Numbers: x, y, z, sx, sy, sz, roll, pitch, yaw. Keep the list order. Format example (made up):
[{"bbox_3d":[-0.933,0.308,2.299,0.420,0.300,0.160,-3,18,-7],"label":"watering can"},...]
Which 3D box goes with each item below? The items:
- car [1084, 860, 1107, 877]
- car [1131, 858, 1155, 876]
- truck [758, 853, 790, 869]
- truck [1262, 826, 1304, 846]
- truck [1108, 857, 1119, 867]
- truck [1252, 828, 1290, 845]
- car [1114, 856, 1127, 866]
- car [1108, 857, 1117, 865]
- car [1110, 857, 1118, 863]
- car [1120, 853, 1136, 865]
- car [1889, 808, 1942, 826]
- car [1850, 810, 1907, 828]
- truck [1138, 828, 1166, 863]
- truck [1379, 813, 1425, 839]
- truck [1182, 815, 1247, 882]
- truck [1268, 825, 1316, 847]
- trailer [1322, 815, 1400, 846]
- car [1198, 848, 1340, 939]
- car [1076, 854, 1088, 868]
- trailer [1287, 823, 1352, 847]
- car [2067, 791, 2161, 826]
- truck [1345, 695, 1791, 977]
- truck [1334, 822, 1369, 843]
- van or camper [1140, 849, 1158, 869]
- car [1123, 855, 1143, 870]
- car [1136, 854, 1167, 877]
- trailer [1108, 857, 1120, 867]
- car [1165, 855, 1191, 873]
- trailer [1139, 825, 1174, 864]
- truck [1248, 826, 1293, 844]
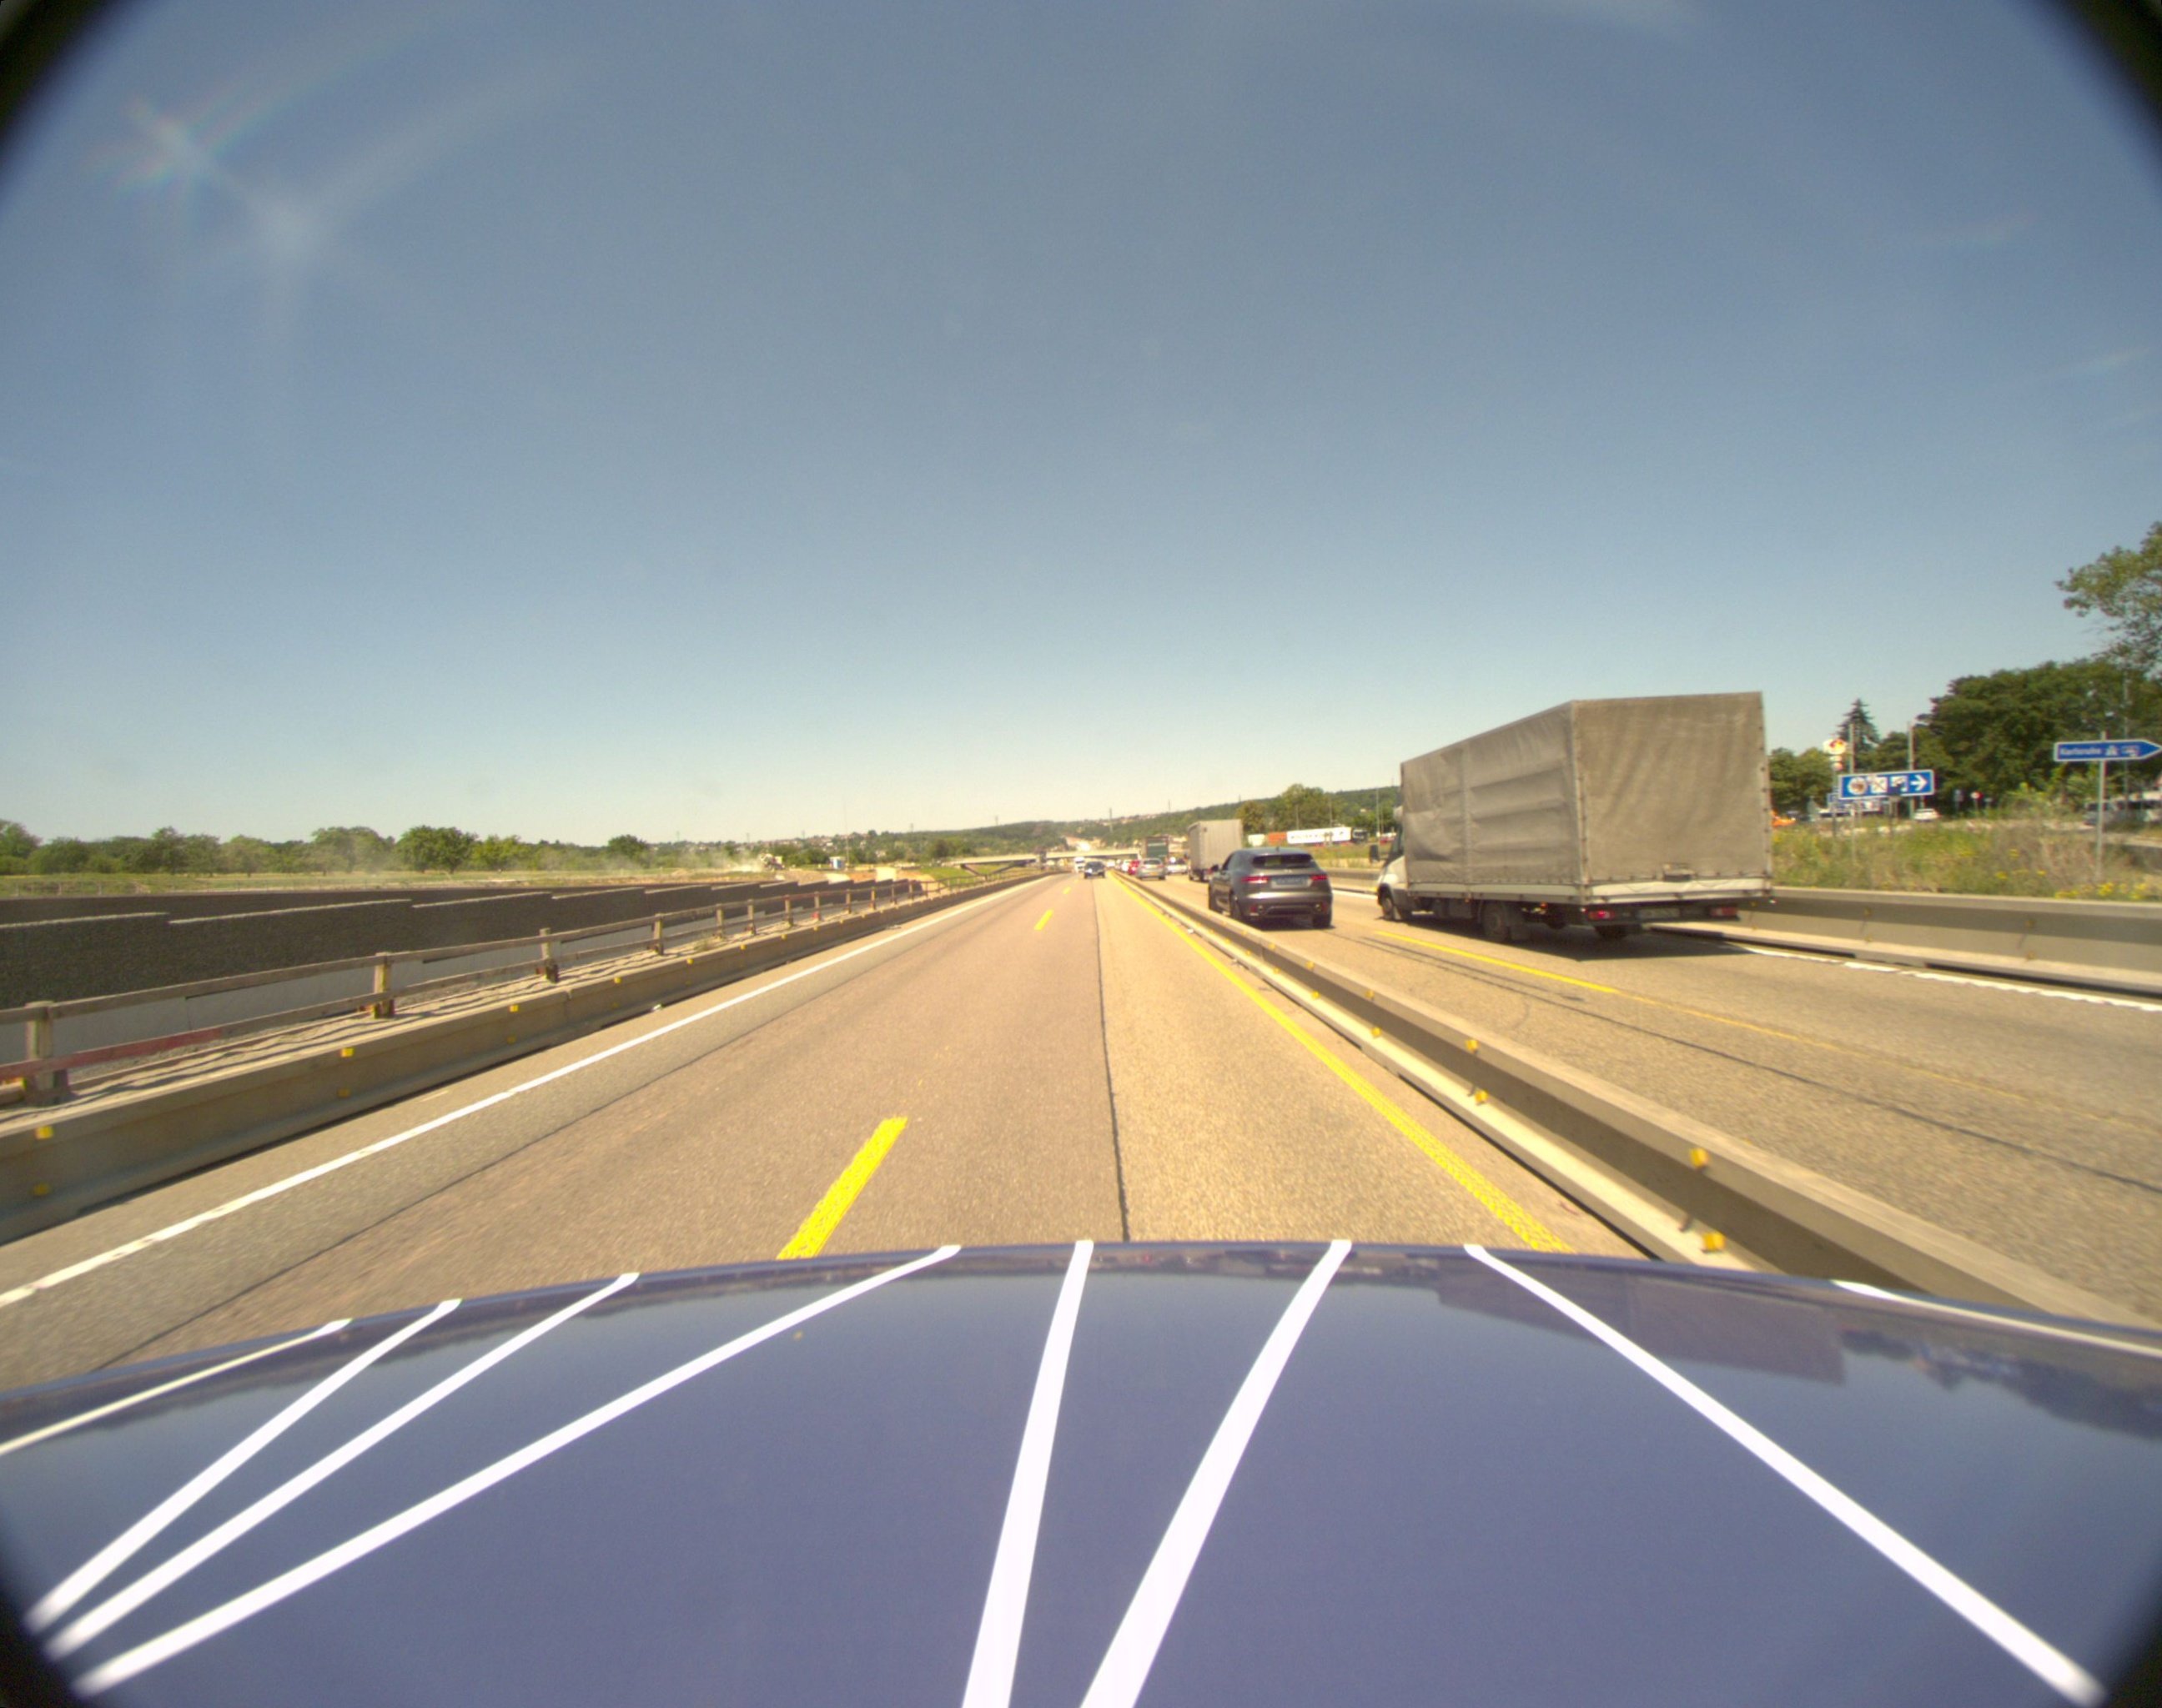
[{"bbox_3d":[1.194,1.167,61.811,1.810,1.299,4.000,-2,0,2],"label":"car"},{"bbox_3d":[5.123,1.067,63.533,1.653,1.426,4.000,-2,0,0],"label":"car"},{"bbox_3d":[-69.449,1.580,172.059,3.155,3.444,8.758,-3,0,3],"label":"truck"},{"bbox_3d":[48.548,-4.354,182.895,9.253,3.652,2.867,-6,0,45],"label":"truck"},{"bbox_3d":[10.848,2.569,251.695,3.397,2.939,6.085,-3,0,2],"label":"truck"},{"bbox_3d":[48.630,-4.383,194.735,9.135,3.522,2.696,-6,0,44],"label":"truck"},{"bbox_3d":[5.615,1.032,107.947,1.714,1.344,3.890,-1,0,1],"label":"car"},{"bbox_3d":[5.992,1.375,145.245,1.651,1.563,3.946,-1,0,3],"label":"car"},{"bbox_3d":[7.526,1.367,175.267,1.651,1.359,3.945,-1,0,1],"label":"car"},{"bbox_3d":[5.773,0.599,94.358,1.770,1.465,4.228,-2,0,1],"label":"car"},{"bbox_3d":[95.516,-4.194,87.009,3.989,1.823,1.746,-2,0,44],"label":"car"},{"bbox_3d":[96.028,-4.199,91.535,1.745,1.823,4.402,-2,0,-34],"label":"car"},{"bbox_3d":[9.116,-1.028,97.768,3.014,4.178,6.284,-2,0,2],"label":"truck"},{"bbox_3d":[53.685,-4.666,127.035,2.838,3.728,6.131,-6,0,-45],"label":"truck"},{"bbox_3d":[7.479,-0.291,43.452,2.395,3.365,7.715,-3,0,2],"label":"truck"},{"bbox_3d":[48.895,-4.101,176.286,9.869,4.195,3.590,-6,0,44],"label":"truck"},{"bbox_3d":[48.620,-3.993,132.235,2.865,4.142,12.348,-6,0,-44],"label":"trailer"},{"bbox_3d":[3.866,0.731,16.498,1.947,1.649,4.745,-1,0,1],"label":"car"},{"bbox_3d":[0.337,1.749,185.139,2.544,3.126,7.548,-3,0,2],"label":"car"},{"bbox_3d":[49.146,-3.877,157.247,2.625,3.762,12.722,-6,0,-45],"label":"trailer"},{"bbox_3d":[69.495,-3.013,50.752,3.993,2.002,2.002,-4,0,12],"label":"car"},{"bbox_3d":[7.231,-0.250,13.133,2.501,3.273,8.116,-2,1,1],"label":"truck"},{"bbox_3d":[54.242,-4.273,152.252,5.724,3.596,2.585,-6,0,42],"label":"truck"},{"bbox_3d":[10.665,0.777,119.744,2.442,2.900,7.825,-2,0,3],"label":"van or camper"},{"bbox_3d":[5.528,0.875,81.339,1.901,1.484,4.760,-2,0,1],"label":"car"},{"bbox_3d":[4.665,0.765,50.775,1.686,1.420,4.202,-2,0,0],"label":"car"},{"bbox_3d":[10.547,2.553,243.795,3.397,2.939,9.785,-3,0,2],"label":"trailer"},{"bbox_3d":[8.121,0.827,63.676,1.627,1.439,3.785,-3,0,0],"label":"car"},{"bbox_3d":[8.921,-1.006,91.168,3.014,4.173,13.852,-2,0,2],"label":"trailer"},{"bbox_3d":[49.823,-4.934,199.693,11.491,3.652,2.535,-6,0,45],"label":"truck"}]
